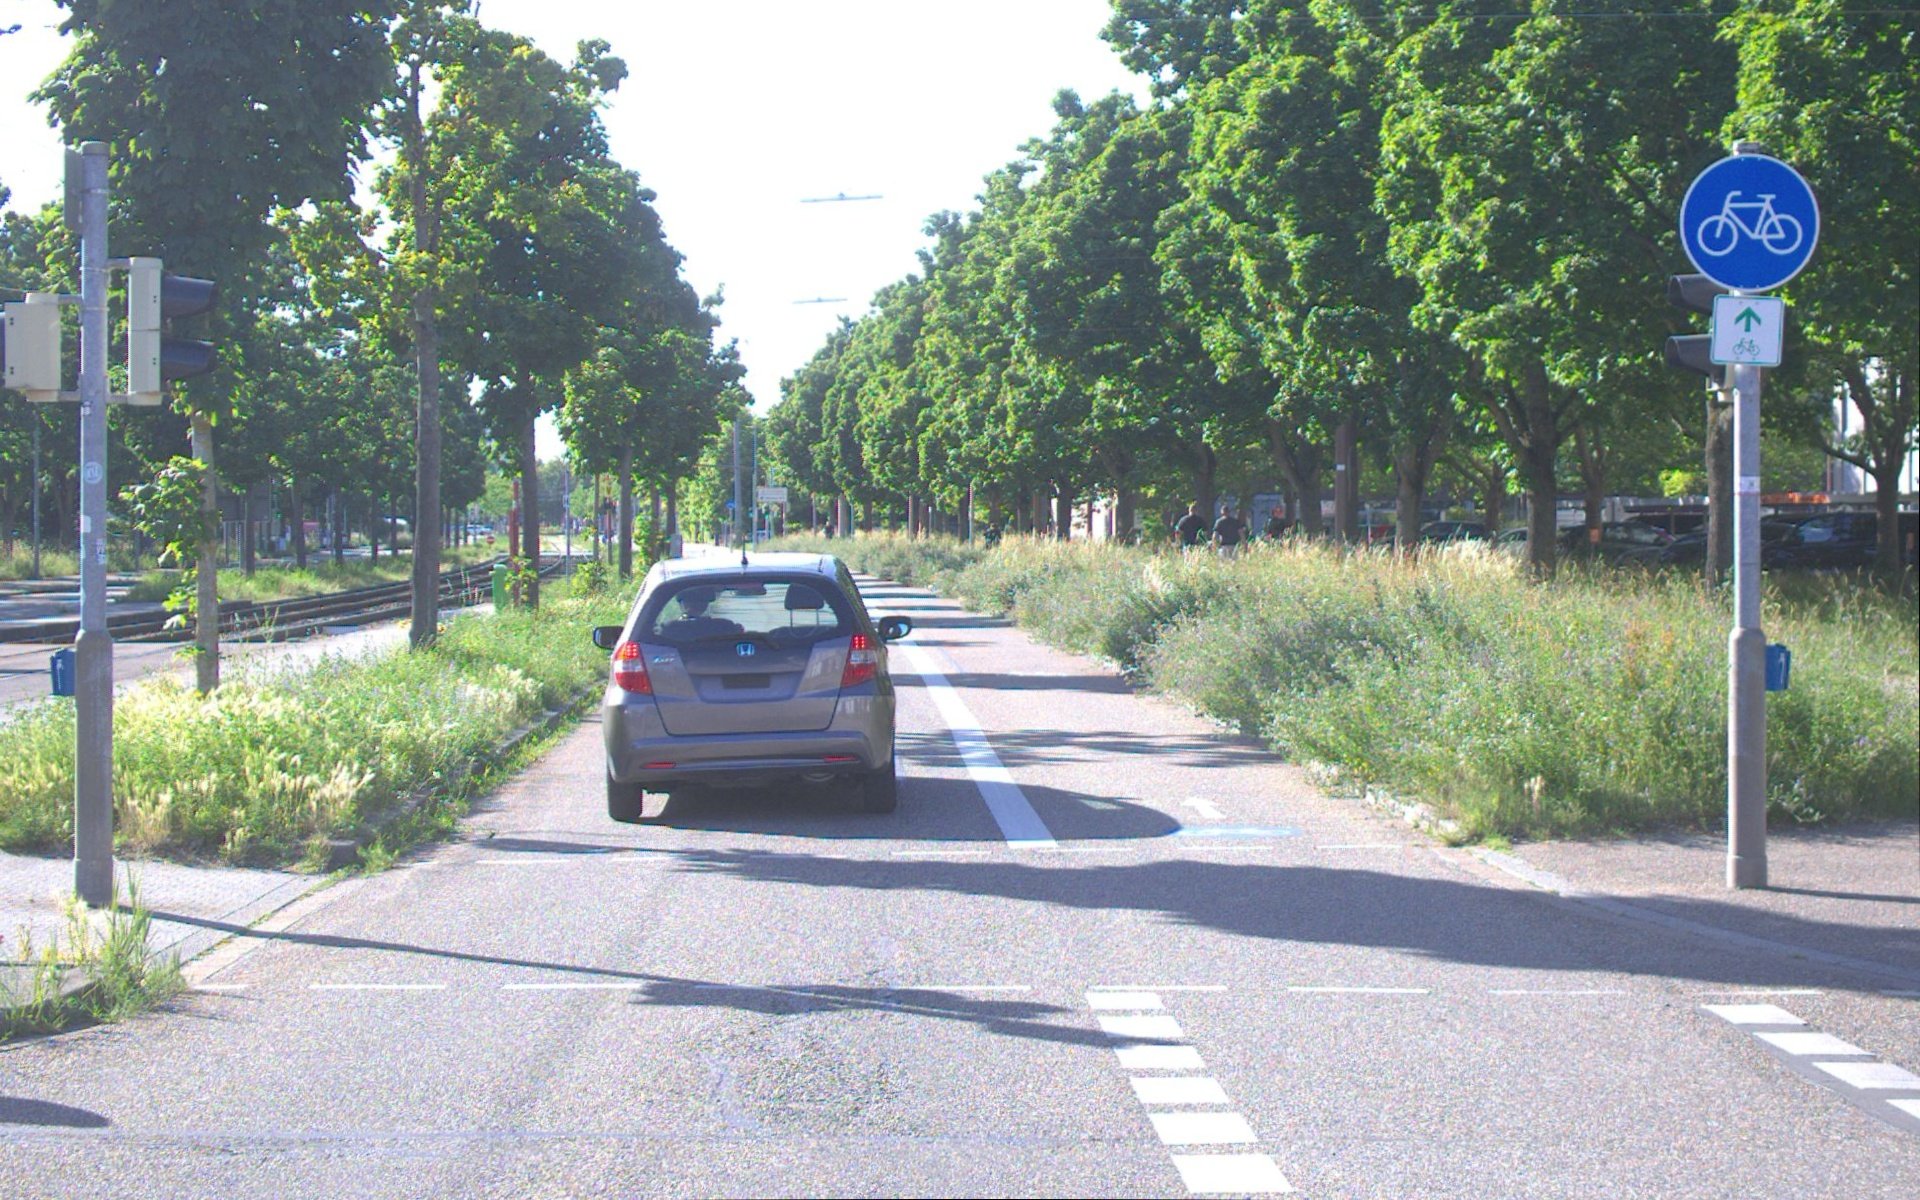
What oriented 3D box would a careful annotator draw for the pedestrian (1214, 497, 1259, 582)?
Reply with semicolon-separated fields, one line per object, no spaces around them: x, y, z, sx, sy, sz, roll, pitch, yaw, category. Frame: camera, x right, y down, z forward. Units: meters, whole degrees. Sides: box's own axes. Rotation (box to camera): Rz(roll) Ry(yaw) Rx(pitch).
6.136;-1.343;76.298;0.882;1.877;0.875;0;1;-4;pedestrian

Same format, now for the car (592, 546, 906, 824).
-1.200;0.476;20.940;1.701;1.518;3.709;1;0;-1;car

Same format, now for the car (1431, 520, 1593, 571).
17.291;-1.716;107.779;4.630;1.550;2.000;0;1;-6;car

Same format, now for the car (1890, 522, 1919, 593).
19.940;-0.791;63.970;4.679;1.322;2.088;1;1;34;car

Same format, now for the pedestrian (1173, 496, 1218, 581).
5.230;-1.363;76.286;0.882;1.877;0.875;0;1;-4;pedestrian
